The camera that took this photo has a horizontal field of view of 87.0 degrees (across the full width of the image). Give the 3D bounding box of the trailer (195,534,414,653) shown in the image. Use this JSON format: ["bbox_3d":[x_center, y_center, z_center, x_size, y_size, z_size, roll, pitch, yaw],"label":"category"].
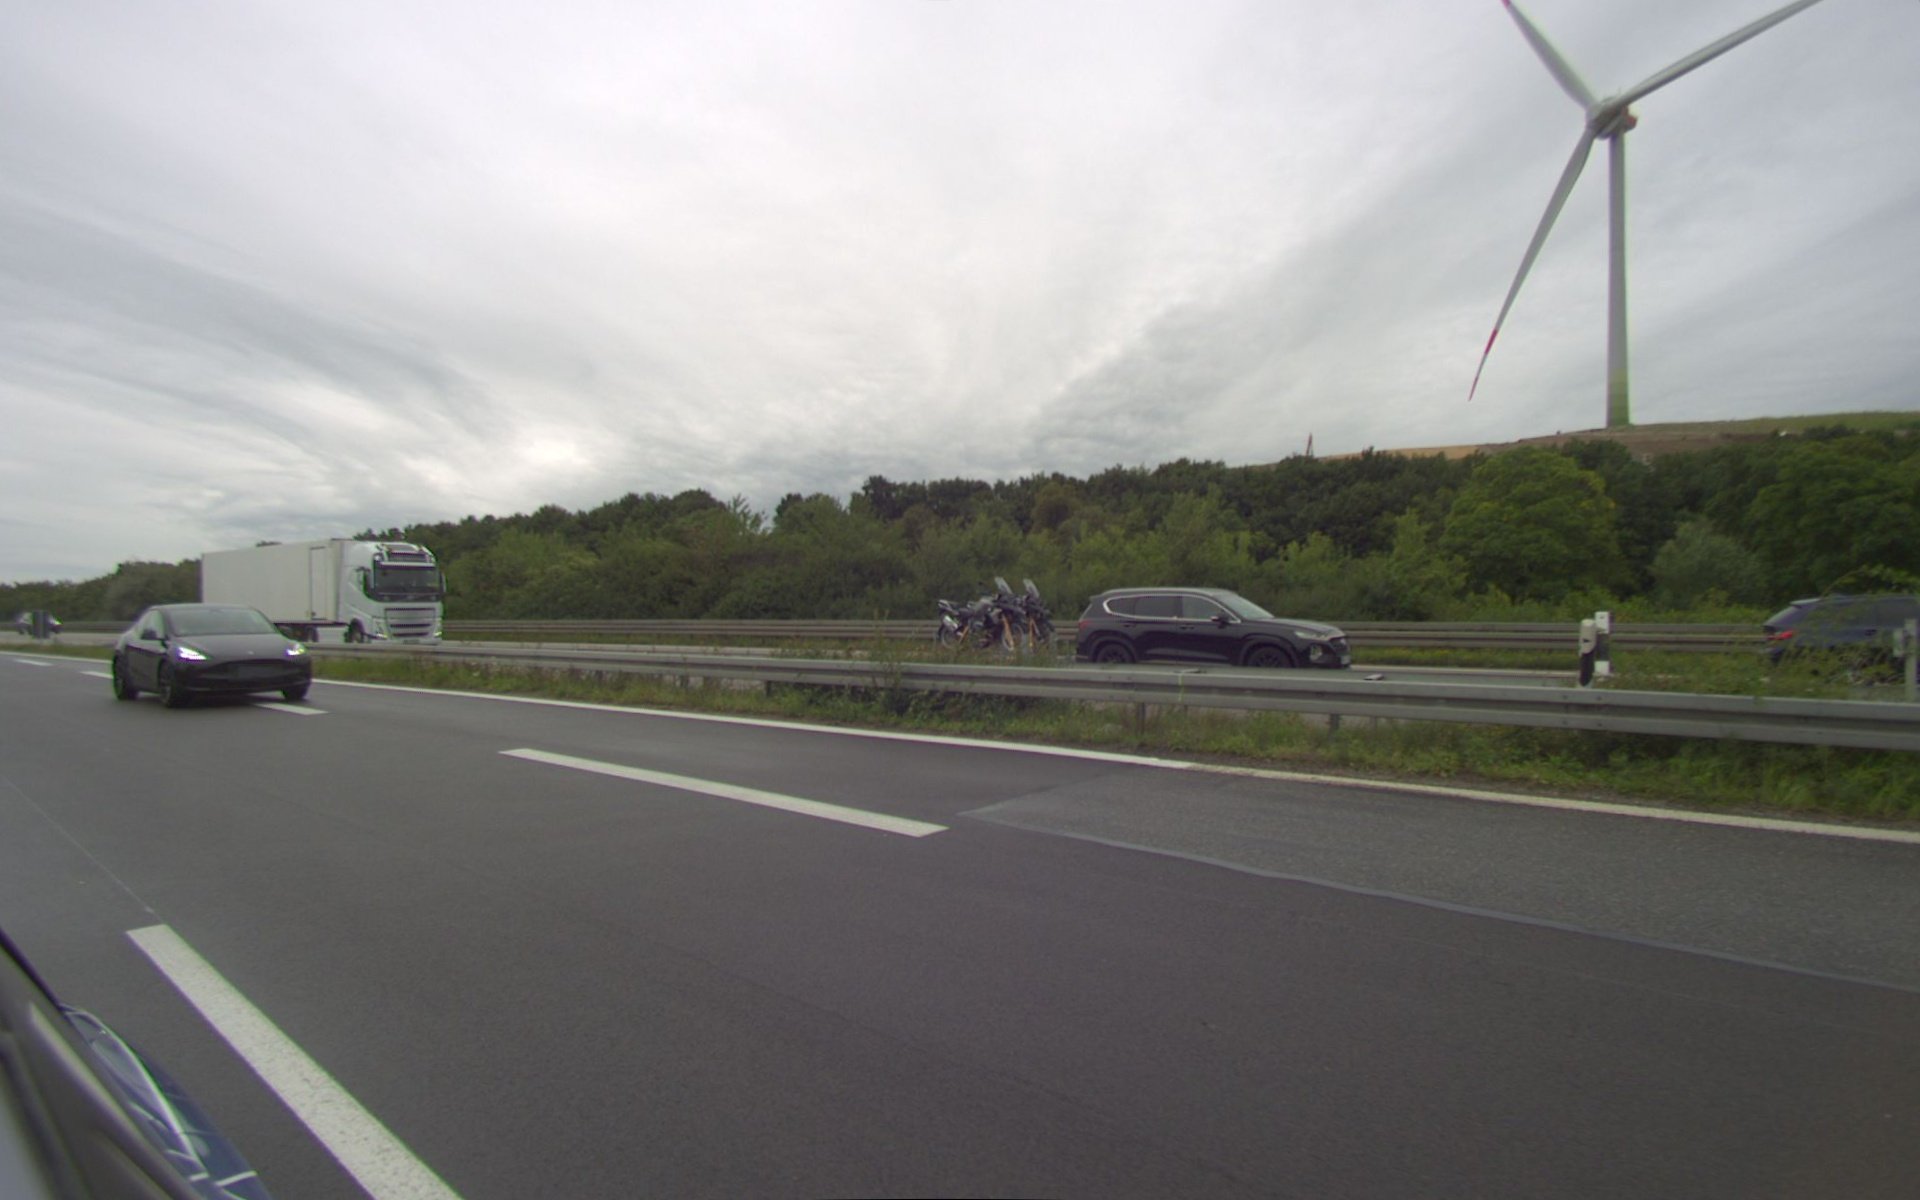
[{"bbox_3d":[-26.810,-0.122,40.895,13.926,4.166,2.741,-1,0,37],"label":"trailer"}]

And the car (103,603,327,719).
[{"bbox_3d":[-12.447,0.896,16.805,4.550,1.650,1.942,-1,0,39],"label":"car"}]

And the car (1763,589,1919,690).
[{"bbox_3d":[14.560,0.541,14.455,4.768,1.402,1.787,-1,0,38],"label":"car"}]

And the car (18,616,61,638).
[{"bbox_3d":[-75.343,2.197,82.843,4.479,1.663,1.880,-1,-1,38],"label":"car"}]

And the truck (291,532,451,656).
[{"bbox_3d":[-21.599,-0.169,36.995,6.433,4.166,2.741,-1,0,37],"label":"truck"}]

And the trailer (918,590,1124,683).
[{"bbox_3d":[1.156,0.647,19.779,3.606,1.638,1.864,-1,0,38],"label":"trailer"}]

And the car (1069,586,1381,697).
[{"bbox_3d":[4.398,0.618,17.240,4.800,1.638,1.864,-1,0,38],"label":"car"}]
